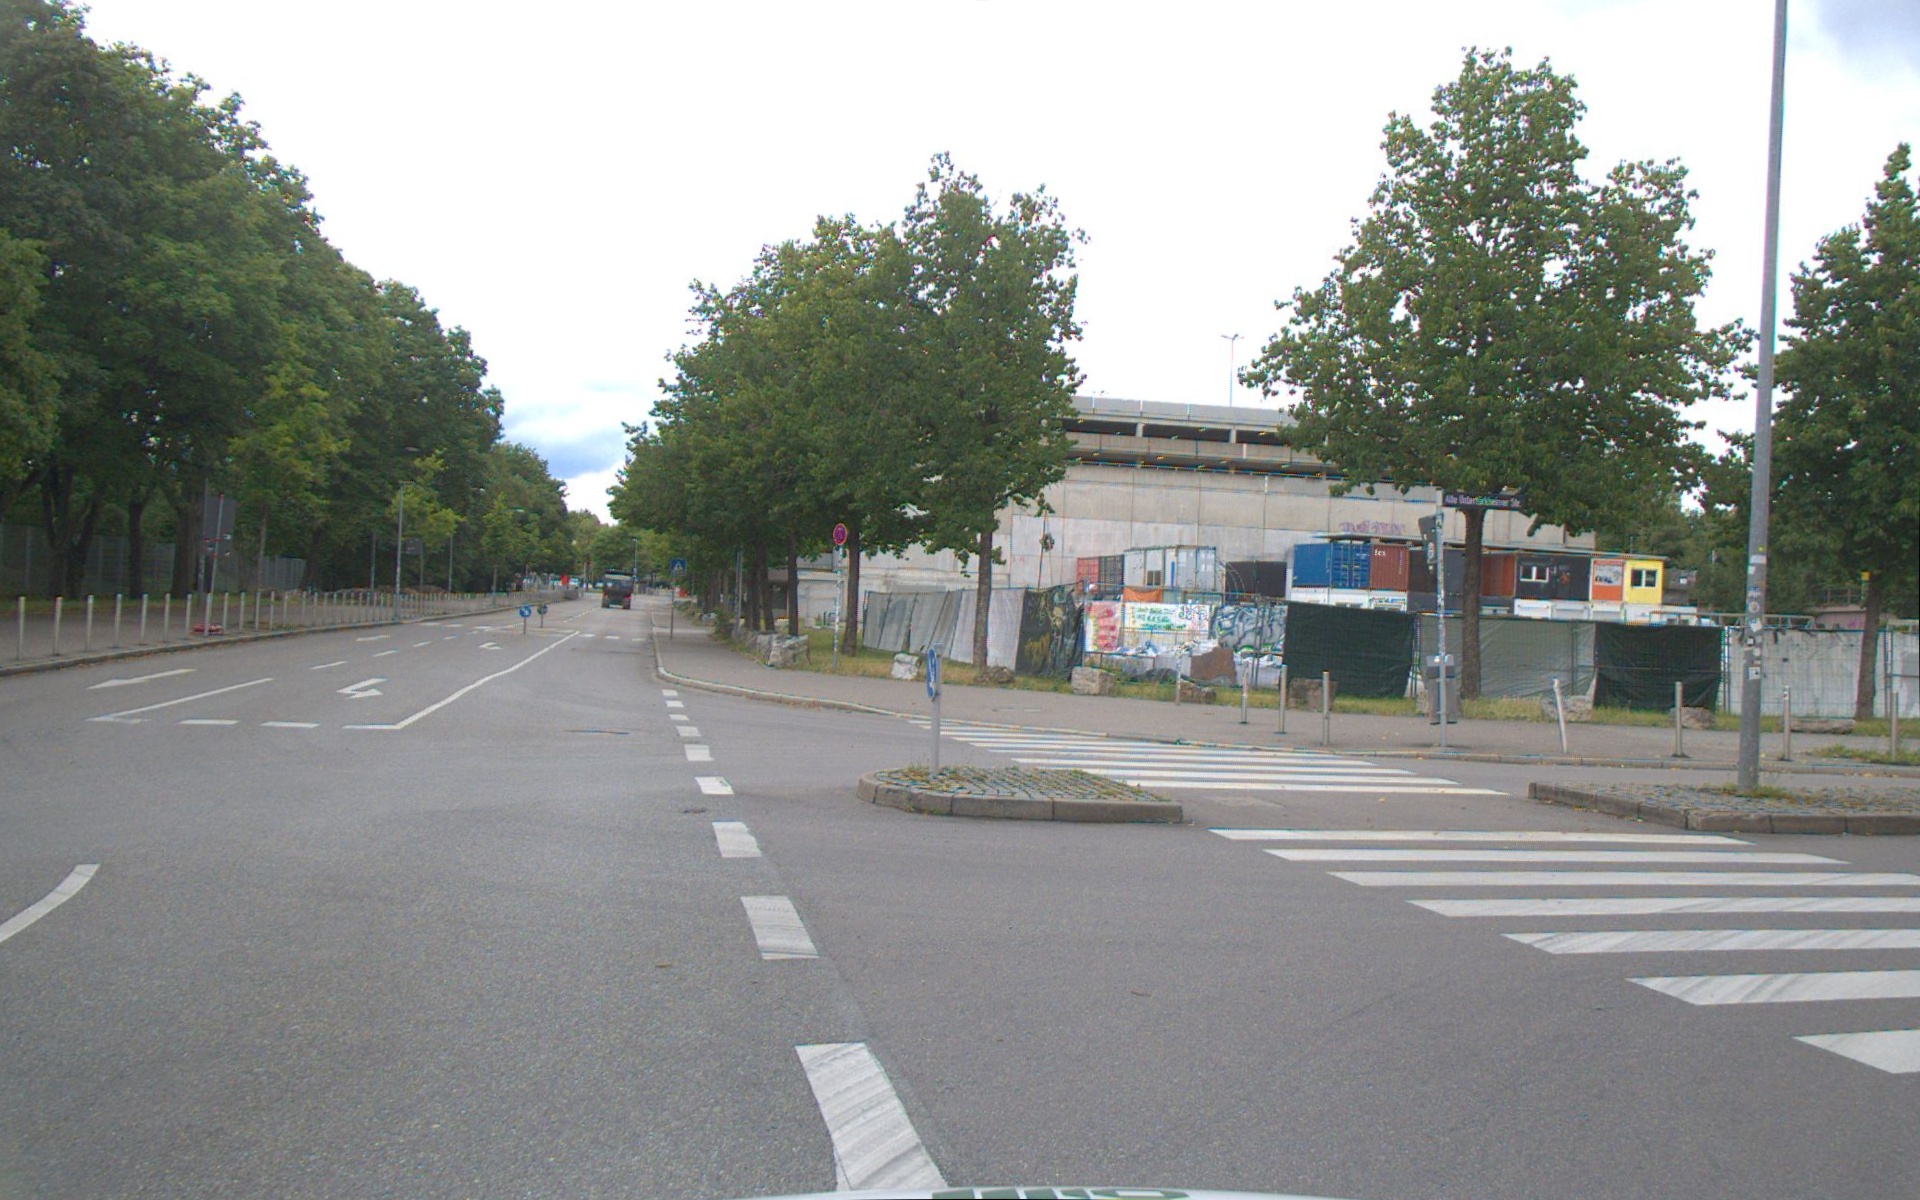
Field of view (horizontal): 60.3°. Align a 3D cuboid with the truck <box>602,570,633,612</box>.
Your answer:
[{"bbox_3d":[-30.398,-0.733,146.945,2.626,3.621,7.900,0,0,-11],"label":"truck"}]
